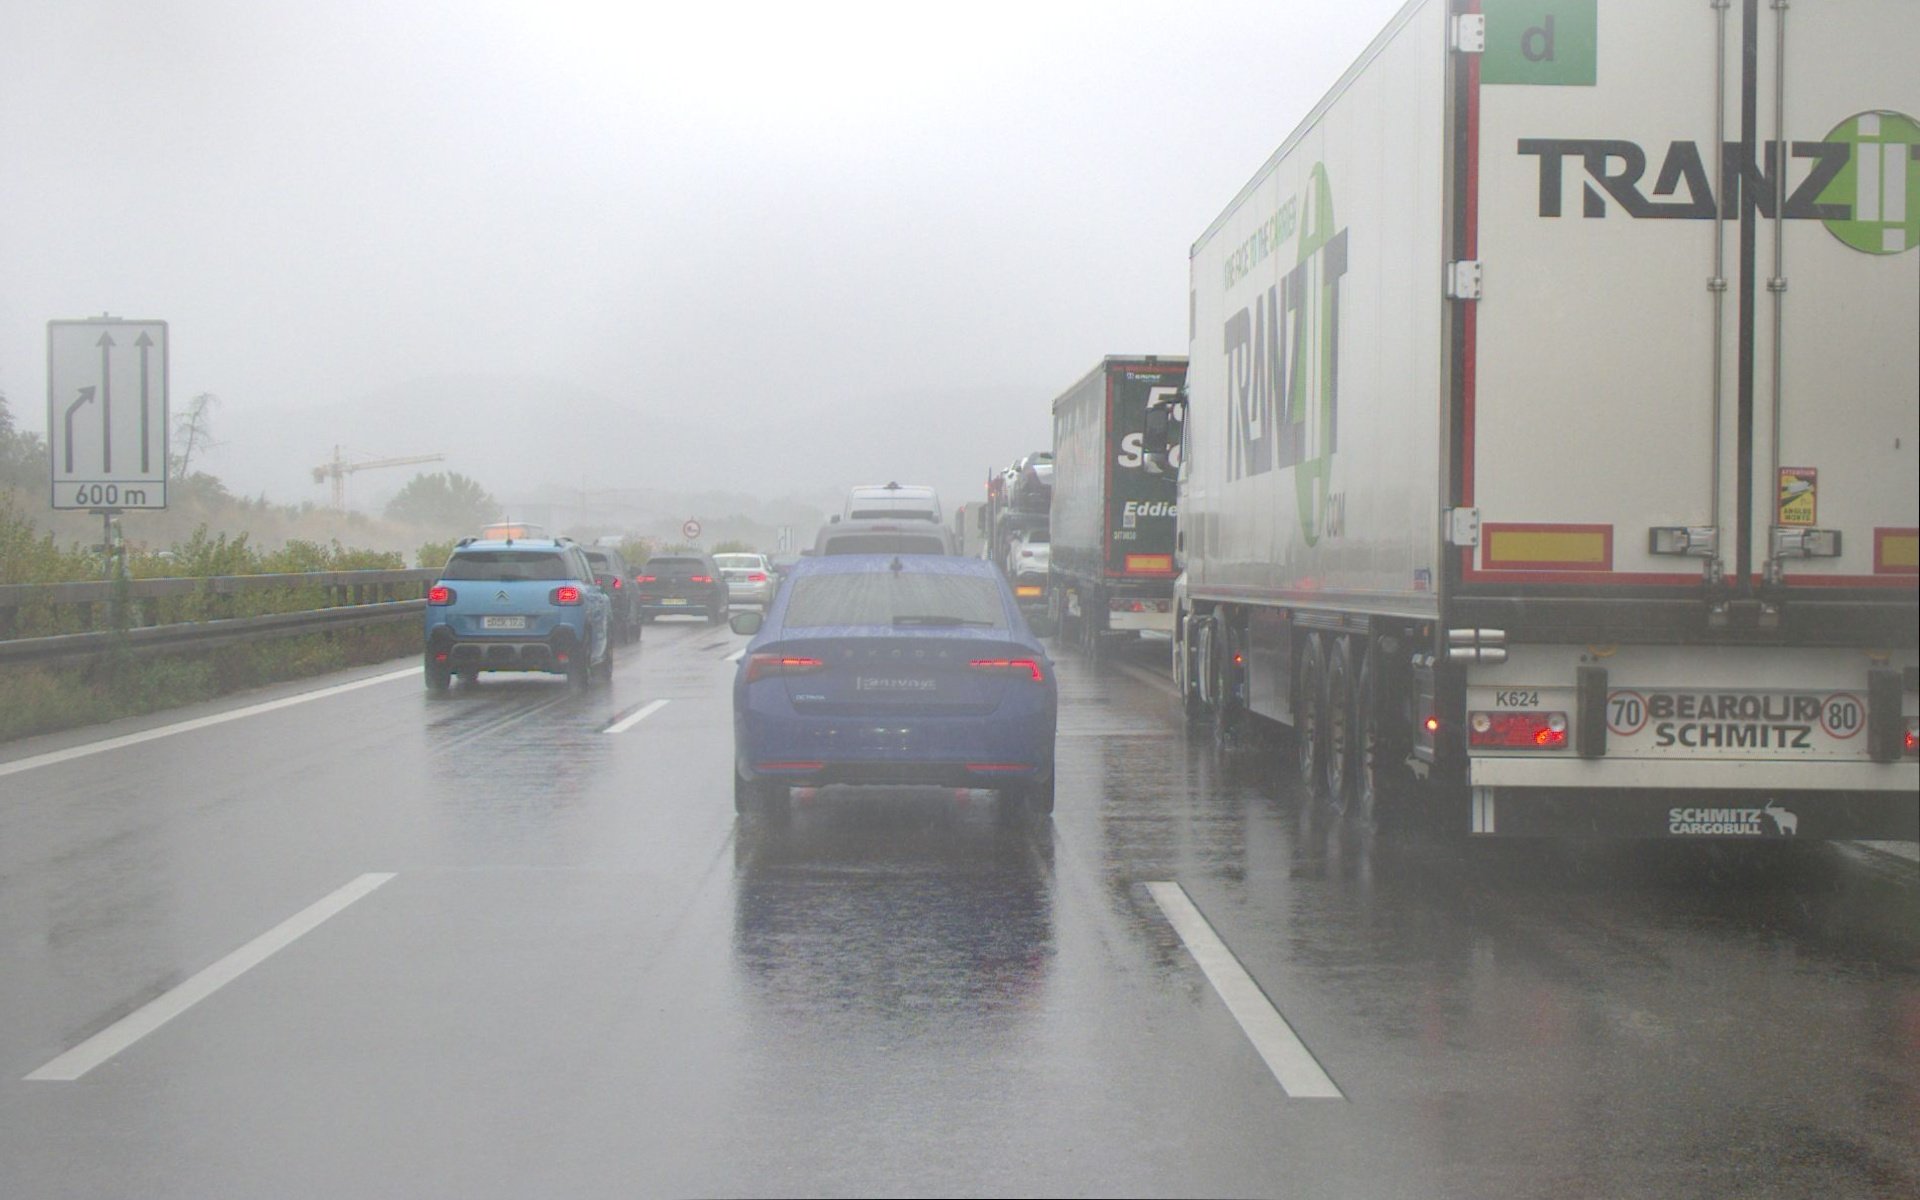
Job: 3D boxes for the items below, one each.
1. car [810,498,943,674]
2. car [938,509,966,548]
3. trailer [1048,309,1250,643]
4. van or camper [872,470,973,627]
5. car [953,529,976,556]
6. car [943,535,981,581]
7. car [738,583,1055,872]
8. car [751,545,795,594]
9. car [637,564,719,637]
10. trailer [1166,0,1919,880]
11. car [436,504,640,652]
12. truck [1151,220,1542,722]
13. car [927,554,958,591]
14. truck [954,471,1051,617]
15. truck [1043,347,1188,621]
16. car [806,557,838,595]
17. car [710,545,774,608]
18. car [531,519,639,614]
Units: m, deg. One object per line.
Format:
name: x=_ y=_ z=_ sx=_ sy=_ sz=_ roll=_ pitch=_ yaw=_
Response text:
car: x=-0.869 y=-0.175 z=36.421 sx=1.336 sy=1.773 sz=3.322 roll=0 pitch=1 yaw=-1
car: x=-0.391 y=-3.570 z=171.151 sx=1.335 sy=1.883 sz=3.040 roll=-1 pitch=1 yaw=-1
trailer: x=2.499 y=-1.675 z=48.638 sx=2.047 sy=4.162 sz=11.449 roll=0 pitch=1 yaw=-1
van or camper: x=-0.701 y=-0.972 z=63.499 sx=1.797 sy=2.797 sz=4.768 roll=0 pitch=1 yaw=-1
car: x=0.274 y=-3.770 z=225.794 sx=1.448 sy=1.777 sz=3.409 roll=1 pitch=1 yaw=-1
car: x=0.066 y=-1.659 z=135.549 sx=1.448 sy=1.777 sz=3.409 roll=1 pitch=1 yaw=-1
car: x=-0.332 y=0.648 z=19.768 sx=1.635 sy=1.440 sz=4.000 roll=0 pitch=1 yaw=0
car: x=-6.807 y=-1.119 z=125.271 sx=1.448 sy=1.777 sz=3.409 roll=1 pitch=1 yaw=-1
car: x=-5.732 y=-0.014 z=70.108 sx=1.439 sy=1.415 sz=3.322 roll=0 pitch=1 yaw=-1
trailer: x=3.183 y=-0.970 z=21.934 sx=2.630 sy=3.999 sz=14.630 roll=0 pitch=1 yaw=-1
car: x=-4.521 y=-0.262 z=37.322 sx=1.721 sy=1.518 sz=4.000 roll=0 pitch=1 yaw=0
truck: x=3.076 y=-1.036 z=28.573 sx=2.630 sy=3.814 sz=4.791 roll=0 pitch=1 yaw=-1
car: x=-0.759 y=-1.196 z=147.061 sx=1.248 sy=1.507 sz=3.108 roll=-1 pitch=2 yaw=-1
truck: x=0.982 y=-1.424 z=84.270 sx=1.993 sy=3.410 sz=8.033 roll=0 pitch=2 yaw=-2
truck: x=2.414 y=-1.810 z=54.445 sx=2.047 sy=4.178 sz=4.000 roll=0 pitch=1 yaw=-1
car: x=-6.631 y=-1.152 z=165.318 sx=1.448 sy=1.777 sz=3.409 roll=1 pitch=1 yaw=-1
car: x=-5.431 y=-0.606 z=85.885 sx=1.439 sy=1.528 sz=3.322 roll=0 pitch=1 yaw=-1
car: x=-5.839 y=-0.542 z=53.736 sx=1.359 sy=1.426 sz=3.364 roll=0 pitch=1 yaw=-1
